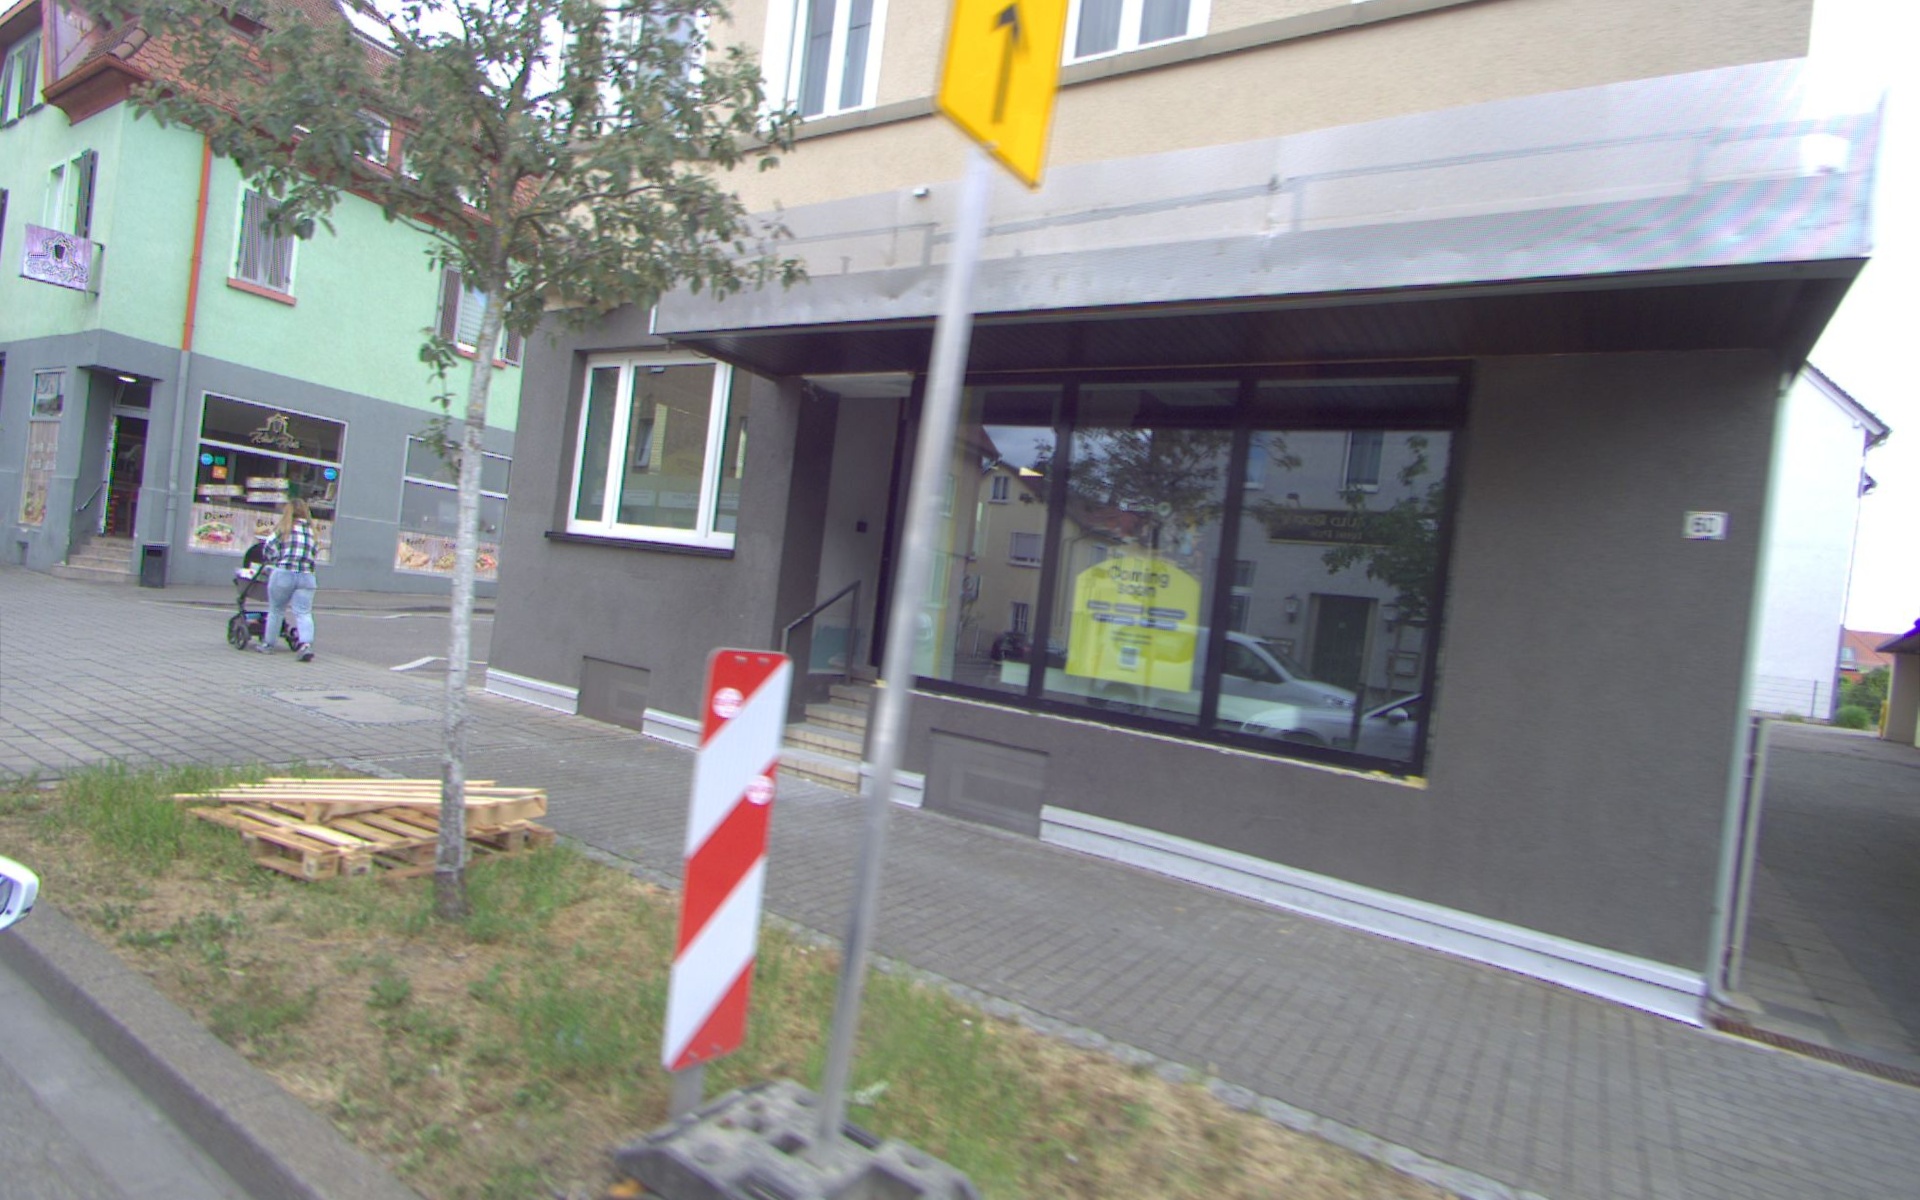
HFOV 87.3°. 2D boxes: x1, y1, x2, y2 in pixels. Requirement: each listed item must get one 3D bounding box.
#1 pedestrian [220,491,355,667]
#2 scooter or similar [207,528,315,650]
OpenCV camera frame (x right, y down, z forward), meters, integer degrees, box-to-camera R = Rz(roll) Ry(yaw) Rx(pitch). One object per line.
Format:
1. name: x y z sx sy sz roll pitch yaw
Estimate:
1. pedestrian: -7.219 -0.222 10.808 0.885 1.740 0.751 7 0 33
2. scooter or similar: -7.930 -0.119 11.412 0.877 1.247 0.590 7 0 33
